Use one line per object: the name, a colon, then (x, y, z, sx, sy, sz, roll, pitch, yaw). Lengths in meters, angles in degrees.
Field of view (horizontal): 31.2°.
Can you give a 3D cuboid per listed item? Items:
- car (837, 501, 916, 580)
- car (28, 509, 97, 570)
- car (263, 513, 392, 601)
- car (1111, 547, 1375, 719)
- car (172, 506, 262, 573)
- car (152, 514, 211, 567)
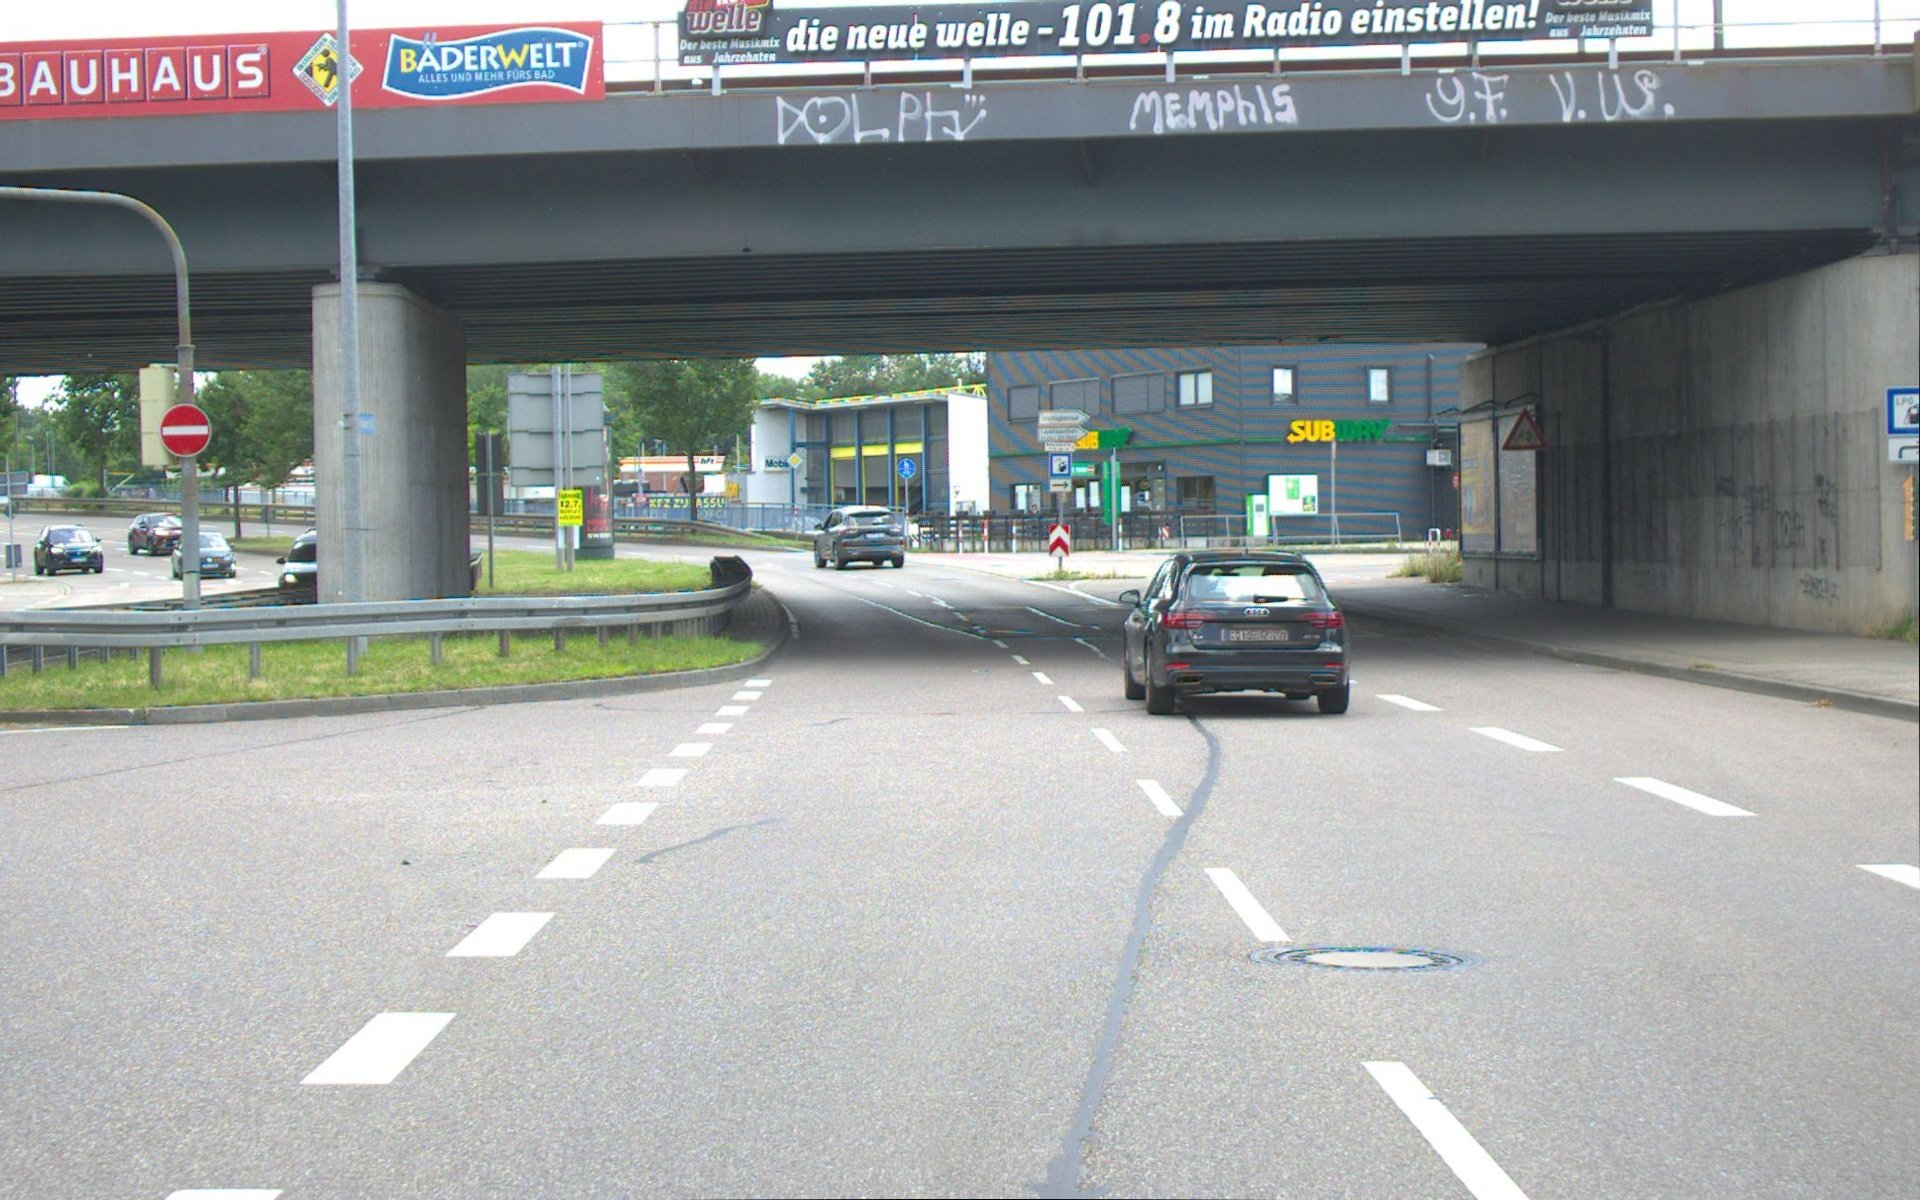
car: (-2.233, -1.611, 92.821, 1.993, 2.030, 4.713, -1, 1, 0)
car: (-30.812, -2.082, 118.136, 1.993, 2.007, 4.338, -1, 1, -11)
car: (-13.272, -0.927, 72.332, 1.993, 1.753, 4.717, -1, 1, -2)
car: (2.521, 0.247, 31.665, 1.993, 1.385, 4.576, 0, 2, -1)
car: (-23.444, -1.928, 108.596, 1.993, 2.007, 4.337, -1, 1, -2)
car: (-30.290, -2.338, 133.852, 1.993, 2.007, 4.338, -1, 1, -10)
